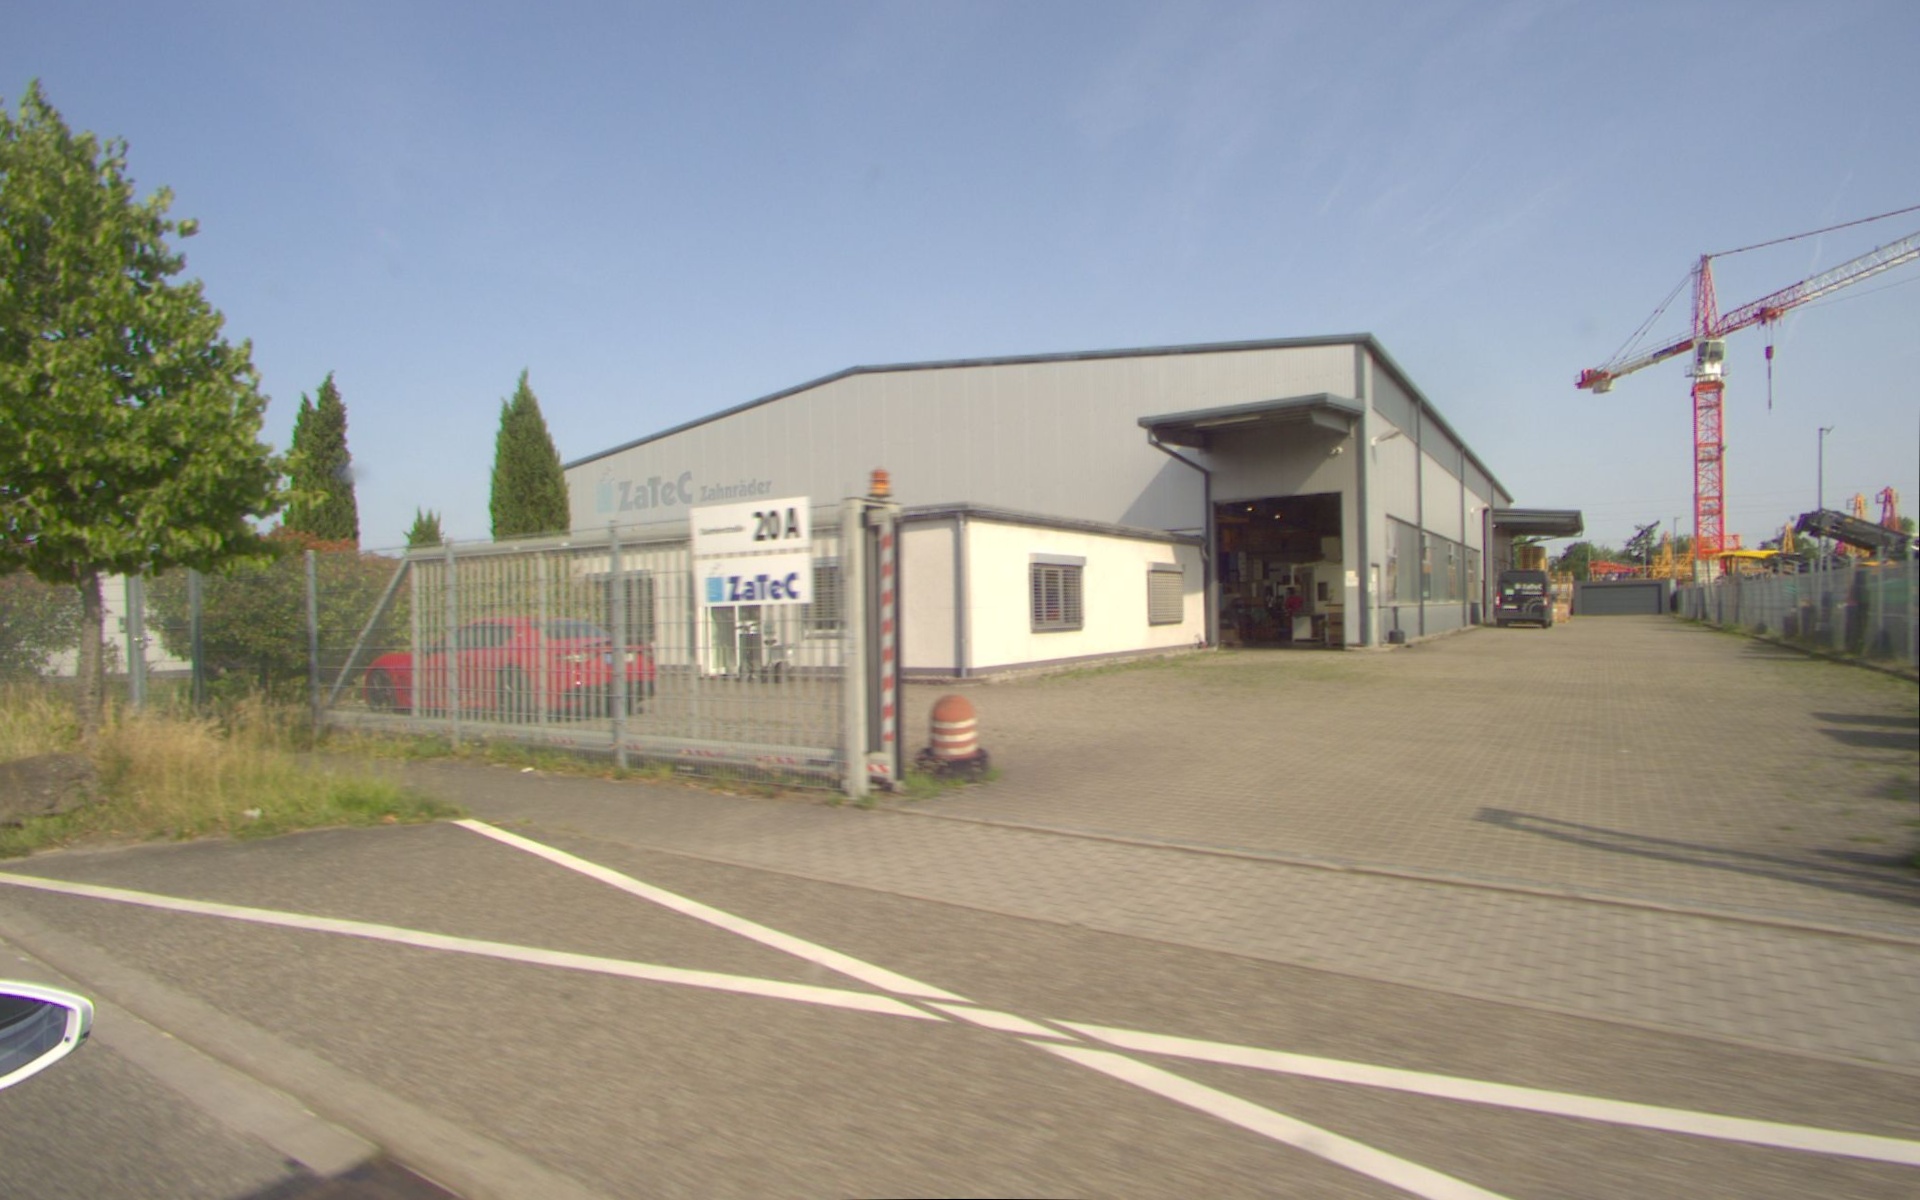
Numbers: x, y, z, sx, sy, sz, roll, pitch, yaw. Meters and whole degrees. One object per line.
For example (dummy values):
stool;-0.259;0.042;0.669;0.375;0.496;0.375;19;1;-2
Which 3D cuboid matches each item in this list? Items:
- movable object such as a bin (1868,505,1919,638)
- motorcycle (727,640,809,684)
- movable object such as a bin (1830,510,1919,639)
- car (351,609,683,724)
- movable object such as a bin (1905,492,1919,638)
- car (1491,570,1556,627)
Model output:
movable object such as a bin;30.361;-0.910;28.625;6.052;3.831;2.447;-2;0;30
motorcycle;-3.571;1.131;18.584;1.561;0.761;0.533;-1;1;33
movable object such as a bin;31.724;-0.864;31.567;6.052;3.981;2.447;-2;0;30
car;-6.309;0.870;14.127;4.702;1.375;1.878;-1;0;30
movable object such as a bin;29.326;-1.062;25.576;7.096;3.981;2.462;-2;0;30
car;25.396;-0.078;45.054;2.194;2.422;4.678;1;1;33
